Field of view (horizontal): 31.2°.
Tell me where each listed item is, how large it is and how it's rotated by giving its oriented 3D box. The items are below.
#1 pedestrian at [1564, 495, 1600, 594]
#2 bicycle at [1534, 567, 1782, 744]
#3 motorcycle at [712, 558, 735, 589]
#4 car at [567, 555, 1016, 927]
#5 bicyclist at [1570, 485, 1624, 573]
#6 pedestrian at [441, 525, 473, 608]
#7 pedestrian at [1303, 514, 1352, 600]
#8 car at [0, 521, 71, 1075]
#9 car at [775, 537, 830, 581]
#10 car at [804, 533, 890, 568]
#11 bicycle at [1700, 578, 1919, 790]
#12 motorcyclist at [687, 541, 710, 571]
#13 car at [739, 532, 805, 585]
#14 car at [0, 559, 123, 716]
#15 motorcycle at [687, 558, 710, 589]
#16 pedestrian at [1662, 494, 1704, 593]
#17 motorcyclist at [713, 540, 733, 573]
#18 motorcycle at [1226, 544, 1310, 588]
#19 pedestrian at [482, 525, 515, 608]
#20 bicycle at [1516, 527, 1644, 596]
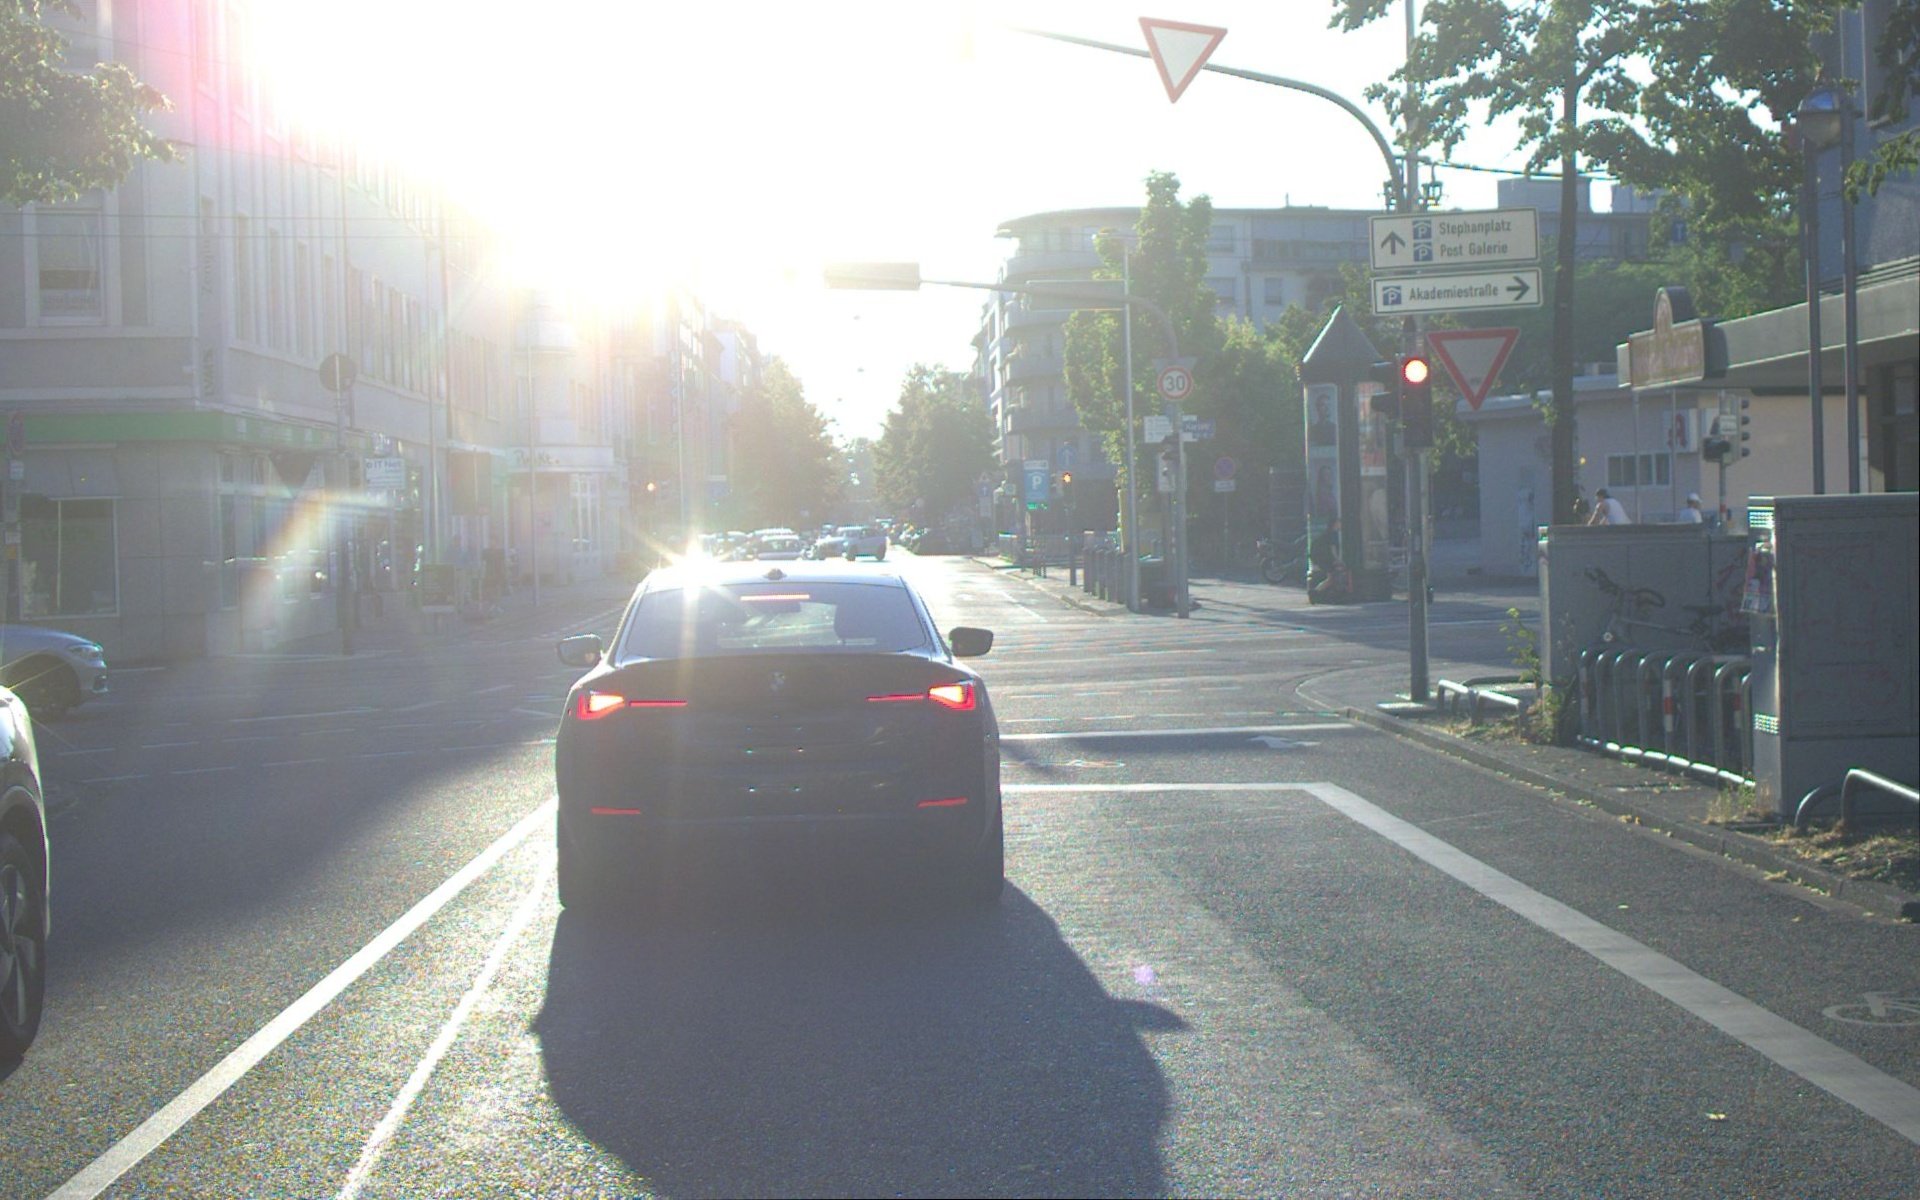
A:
[{"bbox_3d":[10.991,-0.979,60.727,0.442,1.729,0.434,0,1,-26],"label":"pedestrian"},{"bbox_3d":[4.772,0.375,23.534,1.613,1.167,0.318,-1,1,1],"label":"bicycle"},{"bbox_3d":[-7.194,-0.804,104.436,0.575,0.912,2.201,0,1,-1],"label":"motorcycle"},{"bbox_3d":[-0.735,0.520,15.480,1.736,1.424,4.224,0,1,-2],"label":"car"},{"bbox_3d":[10.754,-1.200,58.063,0.722,1.476,0.550,0,0,40],"label":"bicyclist"},{"bbox_3d":[-11.420,-0.760,78.008,0.643,1.870,0.632,0,1,-1],"label":"pedestrian"},{"bbox_3d":[6.556,-0.762,61.371,0.732,1.524,0.473,0,1,-18],"label":"pedestrian"},{"bbox_3d":[-3.754,0.654,9.074,1.730,1.669,4.296,-2,1,-1],"label":"car"},{"bbox_3d":[-5.619,-1.478,123.310,1.818,1.514,4.000,-2,1,-1],"label":"car"},{"bbox_3d":[-5.417,-2.375,164.823,1.822,1.514,3.991,-1,2,42],"label":"car"},{"bbox_3d":[5.080,0.484,20.030,1.441,1.216,0.383,0,1,1],"label":"bicycle"},{"bbox_3d":[-7.989,-1.350,105.059,0.575,0.912,2.201,0,1,-1],"label":"motorcyclist"},{"bbox_3d":[-5.706,-1.278,104.881,1.818,1.514,4.000,-2,1,-1],"label":"car"},{"bbox_3d":[-10.640,0.403,33.831,4.306,1.493,2.000,-2,1,-26],"label":"car"},{"bbox_3d":[-7.998,-0.822,105.165,0.575,0.912,2.201,0,1,-1],"label":"motorcycle"},{"bbox_3d":[12.695,-0.995,60.376,0.478,1.729,0.531,0,1,-26],"label":"pedestrian"},{"bbox_3d":[-7.182,-1.332,104.317,0.575,0.992,0.702,0,1,-1],"label":"motorcyclist"},{"bbox_3d":[6.806,-0.751,75.979,1.668,0.935,0.856,-2,1,-12],"label":"motorcycle"},{"bbox_3d":[-10.489,-0.757,78.166,0.676,1.870,0.618,0,1,-1],"label":"pedestrian"},{"bbox_3d":[10.500,-0.646,58.277,2.142,1.155,0.550,0,1,40],"label":"bicycle"}]
